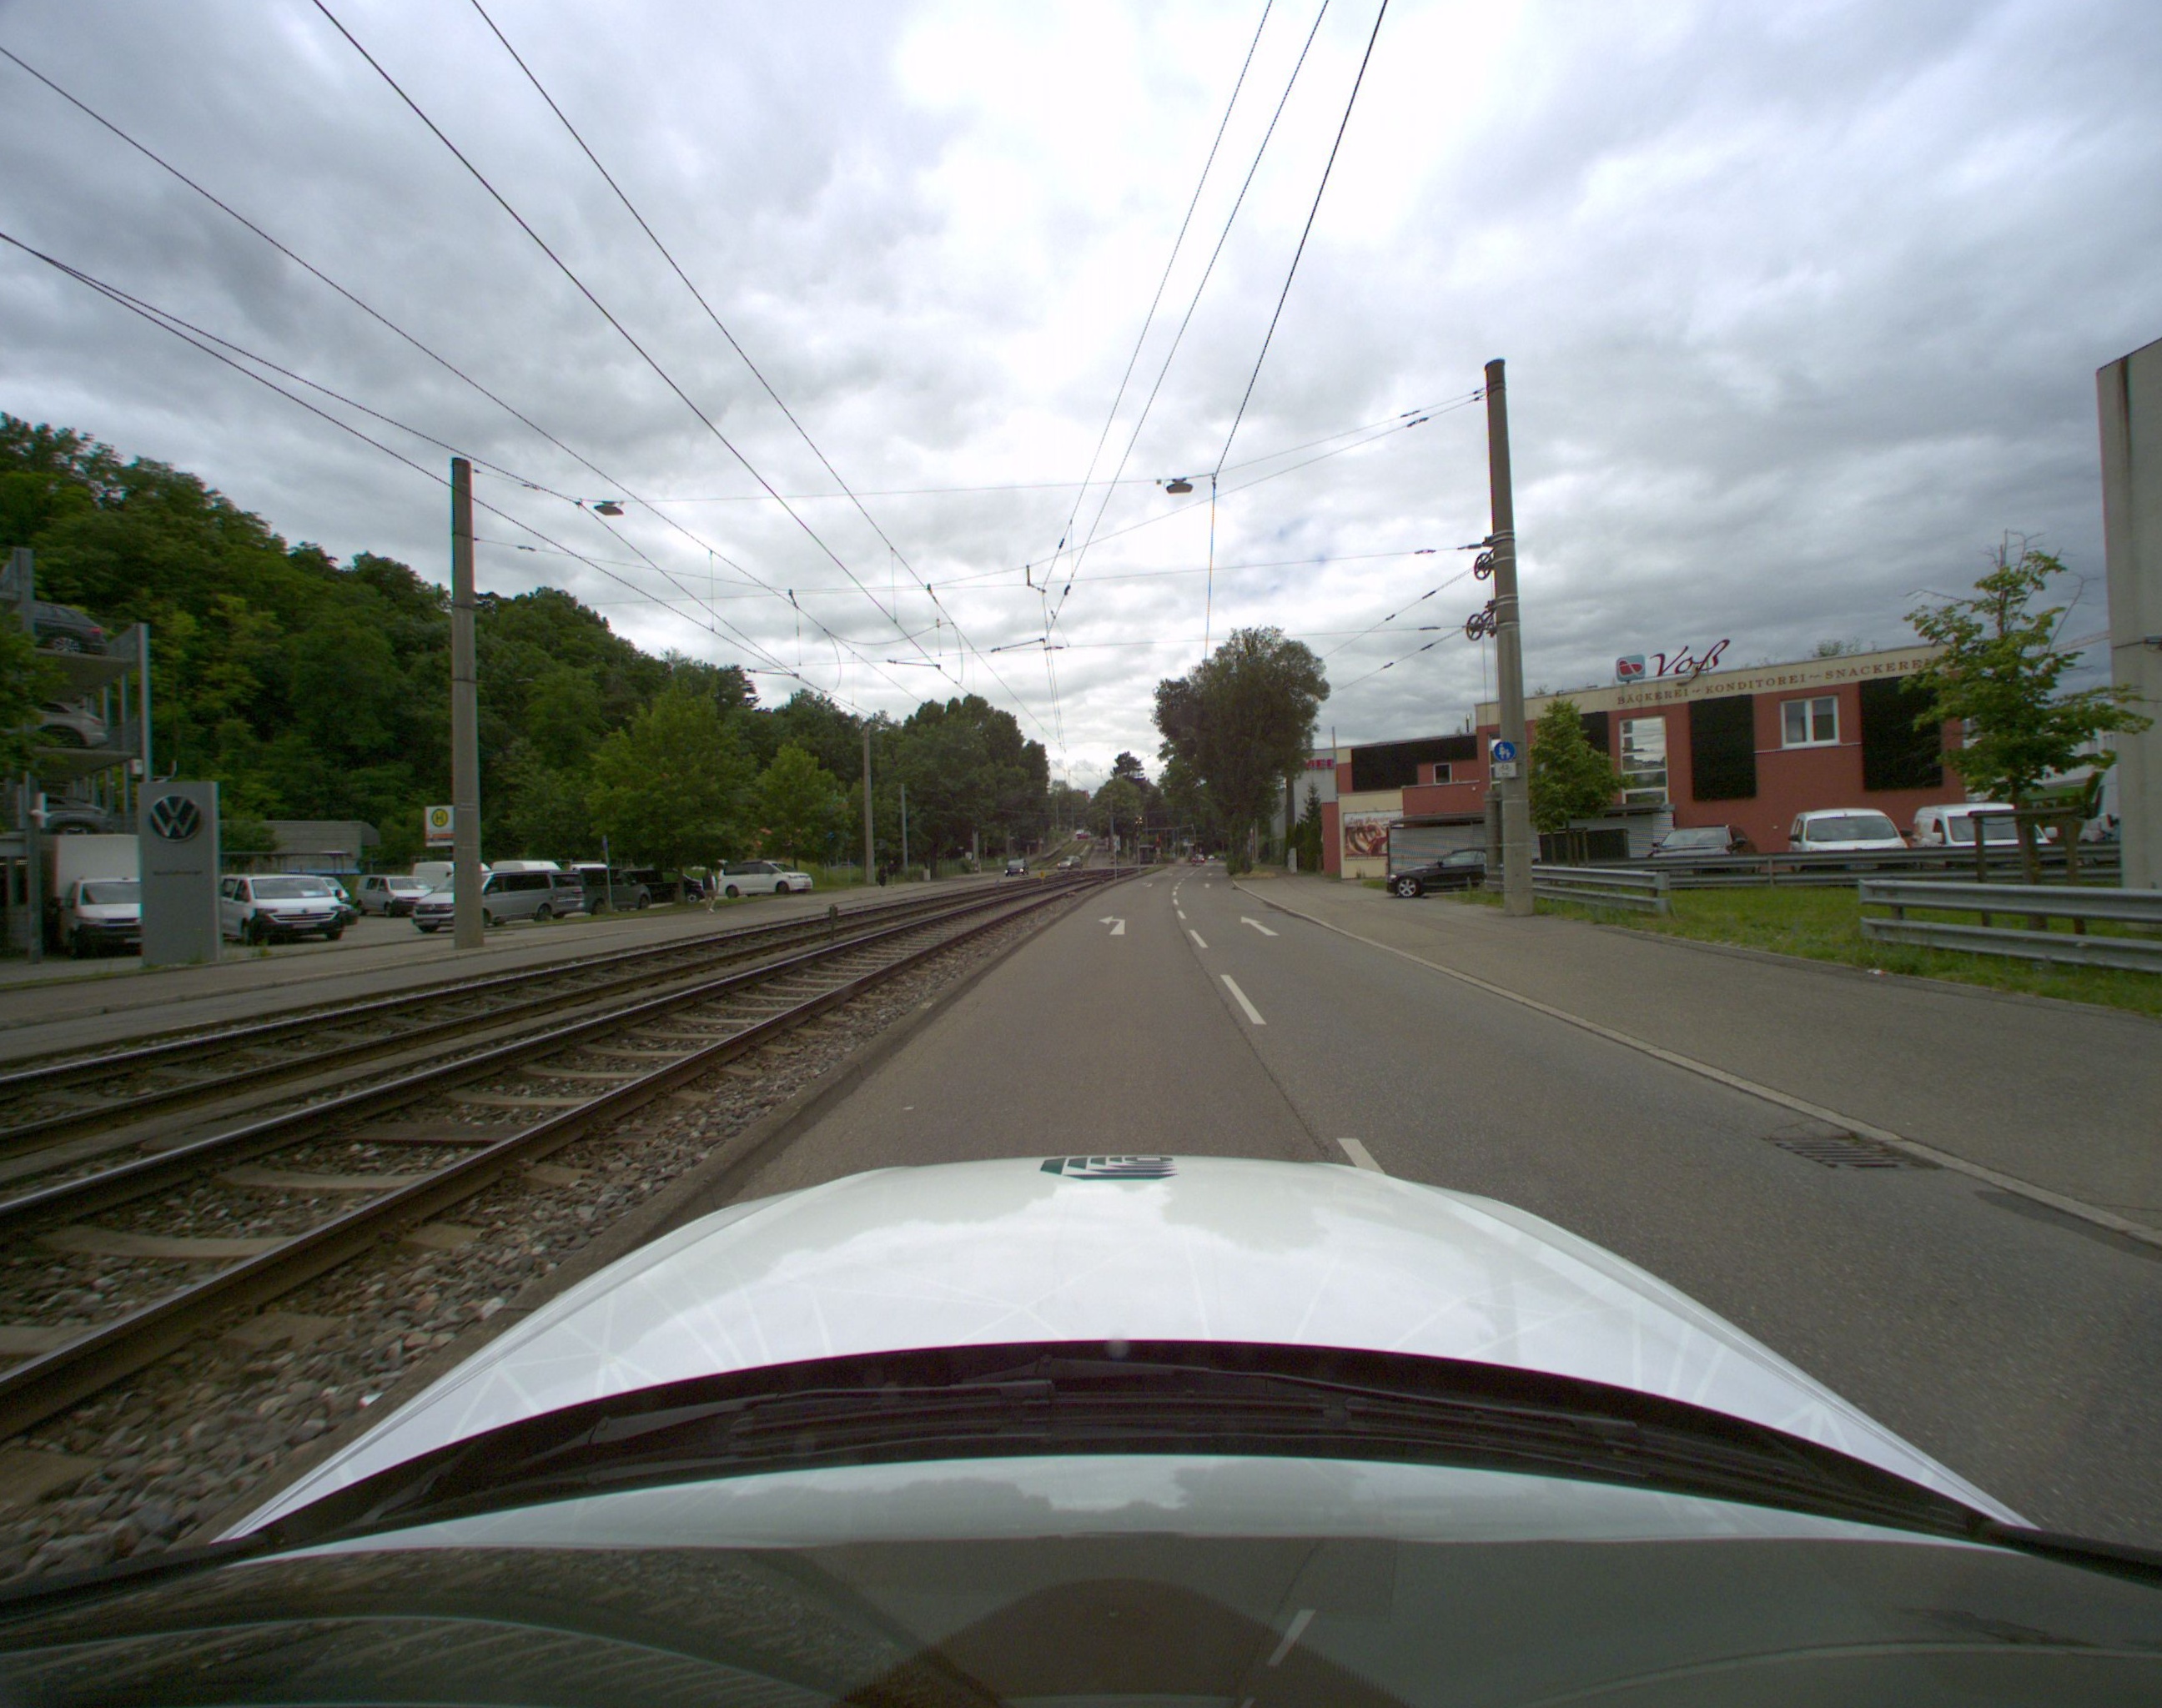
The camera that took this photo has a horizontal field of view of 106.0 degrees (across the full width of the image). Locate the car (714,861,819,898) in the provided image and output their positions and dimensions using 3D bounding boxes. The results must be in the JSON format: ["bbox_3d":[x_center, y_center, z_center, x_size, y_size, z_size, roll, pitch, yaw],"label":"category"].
[{"bbox_3d":[-17.077,1.379,44.260,5.017,1.888,2.175,-2,-1,16],"label":"car"}]

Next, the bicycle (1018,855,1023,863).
[{"bbox_3d":[-9.704,0.791,130.587,0.822,1.343,2.991,-2,0,-4],"label":"bicycle"}]

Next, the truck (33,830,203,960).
[{"bbox_3d":[-25.872,1.060,21.828,5.861,3.085,2.133,-2,-1,33],"label":"truck"}]

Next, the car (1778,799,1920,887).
[{"bbox_3d":[18.130,-0.249,19.445,1.837,1.832,4.571,-3,0,36],"label":"car"}]

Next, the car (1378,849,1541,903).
[{"bbox_3d":[11.184,0.617,24.128,4.179,1.443,1.774,0,1,31],"label":"car"}]

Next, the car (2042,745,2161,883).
[{"bbox_3d":[22.639,-0.832,17.049,2.069,2.589,5.458,-2,0,38],"label":"car"}]

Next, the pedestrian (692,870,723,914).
[{"bbox_3d":[-14.410,1.468,31.442,0.716,1.656,1.041,0,0,-4],"label":"pedestrian"}]

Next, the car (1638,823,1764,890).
[{"bbox_3d":[16.243,0.017,21.232,2.134,1.548,4.548,-1,1,43],"label":"car"}]

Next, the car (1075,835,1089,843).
[{"bbox_3d":[0.330,-4.461,244.339,3.958,2.014,2.008,-2,-1,14],"label":"car"}]

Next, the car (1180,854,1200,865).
[{"bbox_3d":[15.250,0.748,113.907,1.977,1.515,4.522,-1,0,19],"label":"car"}]

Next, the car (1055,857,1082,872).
[{"bbox_3d":[-1.427,1.244,96.282,1.876,1.532,4.274,-5,0,16],"label":"car"}]

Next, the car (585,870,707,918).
[{"bbox_3d":[-21.394,1.894,40.118,5.092,2.013,2.144,-2,0,-34],"label":"car"}]

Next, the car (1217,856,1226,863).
[{"bbox_3d":[37.439,1.510,217.329,1.983,1.816,4.007,-2,0,6],"label":"car"}]

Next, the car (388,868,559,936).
[{"bbox_3d":[-20.623,1.545,27.986,1.986,2.013,4.921,-2,0,2],"label":"car"}]

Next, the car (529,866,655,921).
[{"bbox_3d":[-20.382,1.573,34.266,1.986,2.013,5.132,-2,0,2],"label":"car"}]

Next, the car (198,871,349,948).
[{"bbox_3d":[-23.989,1.606,24.151,4.670,2.013,2.013,-2,0,30],"label":"car"}]

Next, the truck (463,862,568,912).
[{"bbox_3d":[-31.928,1.881,45.976,5.705,2.588,2.484,-2,0,28],"label":"truck"}]

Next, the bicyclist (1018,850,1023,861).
[{"bbox_3d":[-9.741,0.246,130.706,0.820,1.849,1.050,-2,-1,-5],"label":"bicyclist"}]

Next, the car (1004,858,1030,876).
[{"bbox_3d":[-5.947,1.179,76.174,1.679,1.532,4.260,-5,0,4],"label":"car"}]

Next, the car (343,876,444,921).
[{"bbox_3d":[-33.225,2.145,39.375,3.953,2.013,2.010,-2,0,20],"label":"car"}]

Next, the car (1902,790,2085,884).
[{"bbox_3d":[20.176,-0.352,18.240,1.794,1.832,4.470,-2,0,36],"label":"car"}]

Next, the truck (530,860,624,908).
[{"bbox_3d":[-29.661,1.774,47.925,5.008,2.588,2.484,-2,0,28],"label":"truck"}]

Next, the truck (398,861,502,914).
[{"bbox_3d":[-33.525,1.797,43.258,5.008,2.588,2.484,-2,0,28],"label":"truck"}]

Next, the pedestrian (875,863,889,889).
[{"bbox_3d":[-13.140,1.457,53.728,0.625,1.713,0.857,0,0,6],"label":"pedestrian"}]

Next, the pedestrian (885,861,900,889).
[{"bbox_3d":[-12.428,1.356,53.639,0.673,1.813,0.857,0,0,6],"label":"pedestrian"}]
